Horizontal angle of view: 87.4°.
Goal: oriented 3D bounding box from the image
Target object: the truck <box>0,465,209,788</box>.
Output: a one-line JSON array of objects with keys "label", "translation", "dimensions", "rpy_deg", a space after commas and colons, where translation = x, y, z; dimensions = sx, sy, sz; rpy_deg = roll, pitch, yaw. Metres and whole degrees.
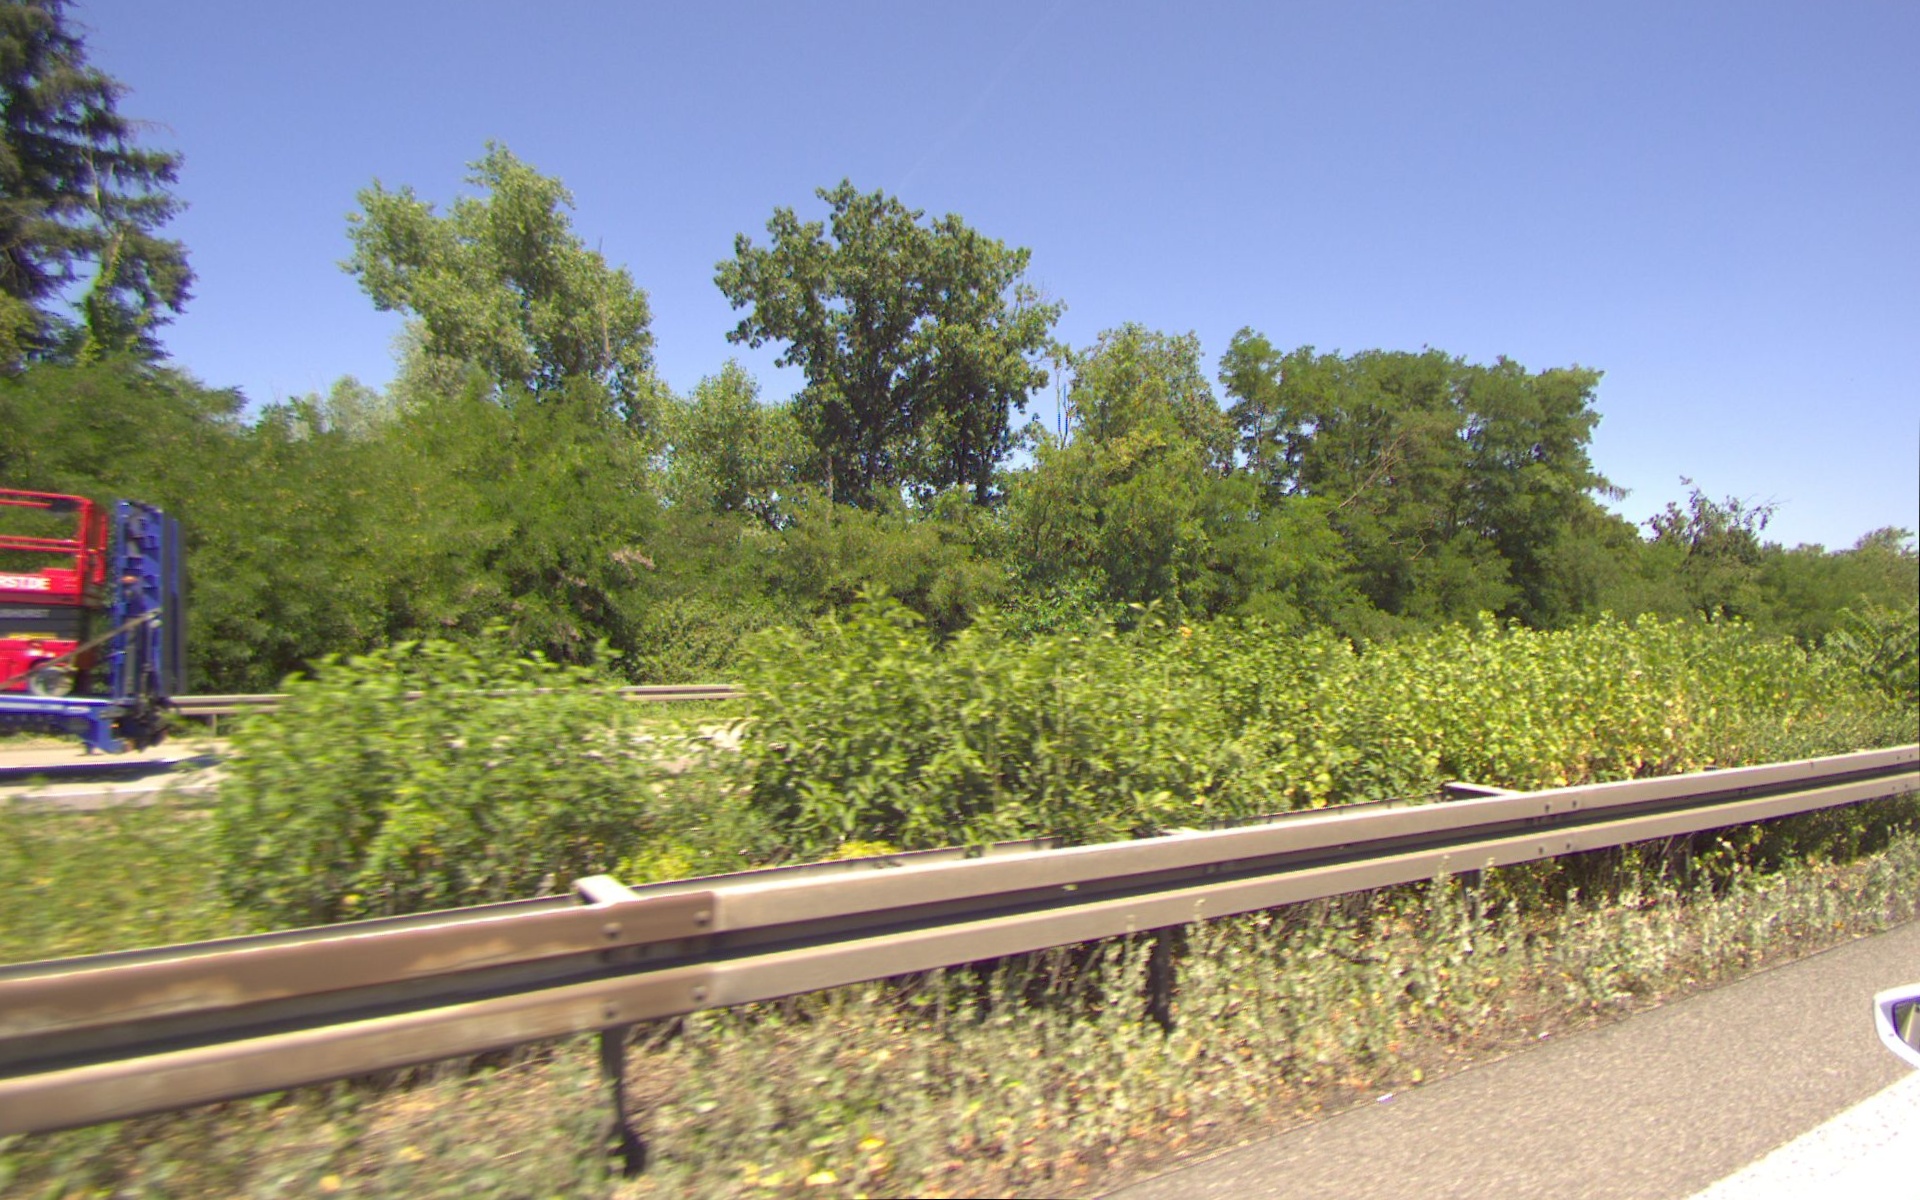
[{"label": "truck", "translation": [-14.905, 0.221, 9.729], "dimensions": [11.841, 3.477, 2.775], "rpy_deg": [2, -3, -31]}]
